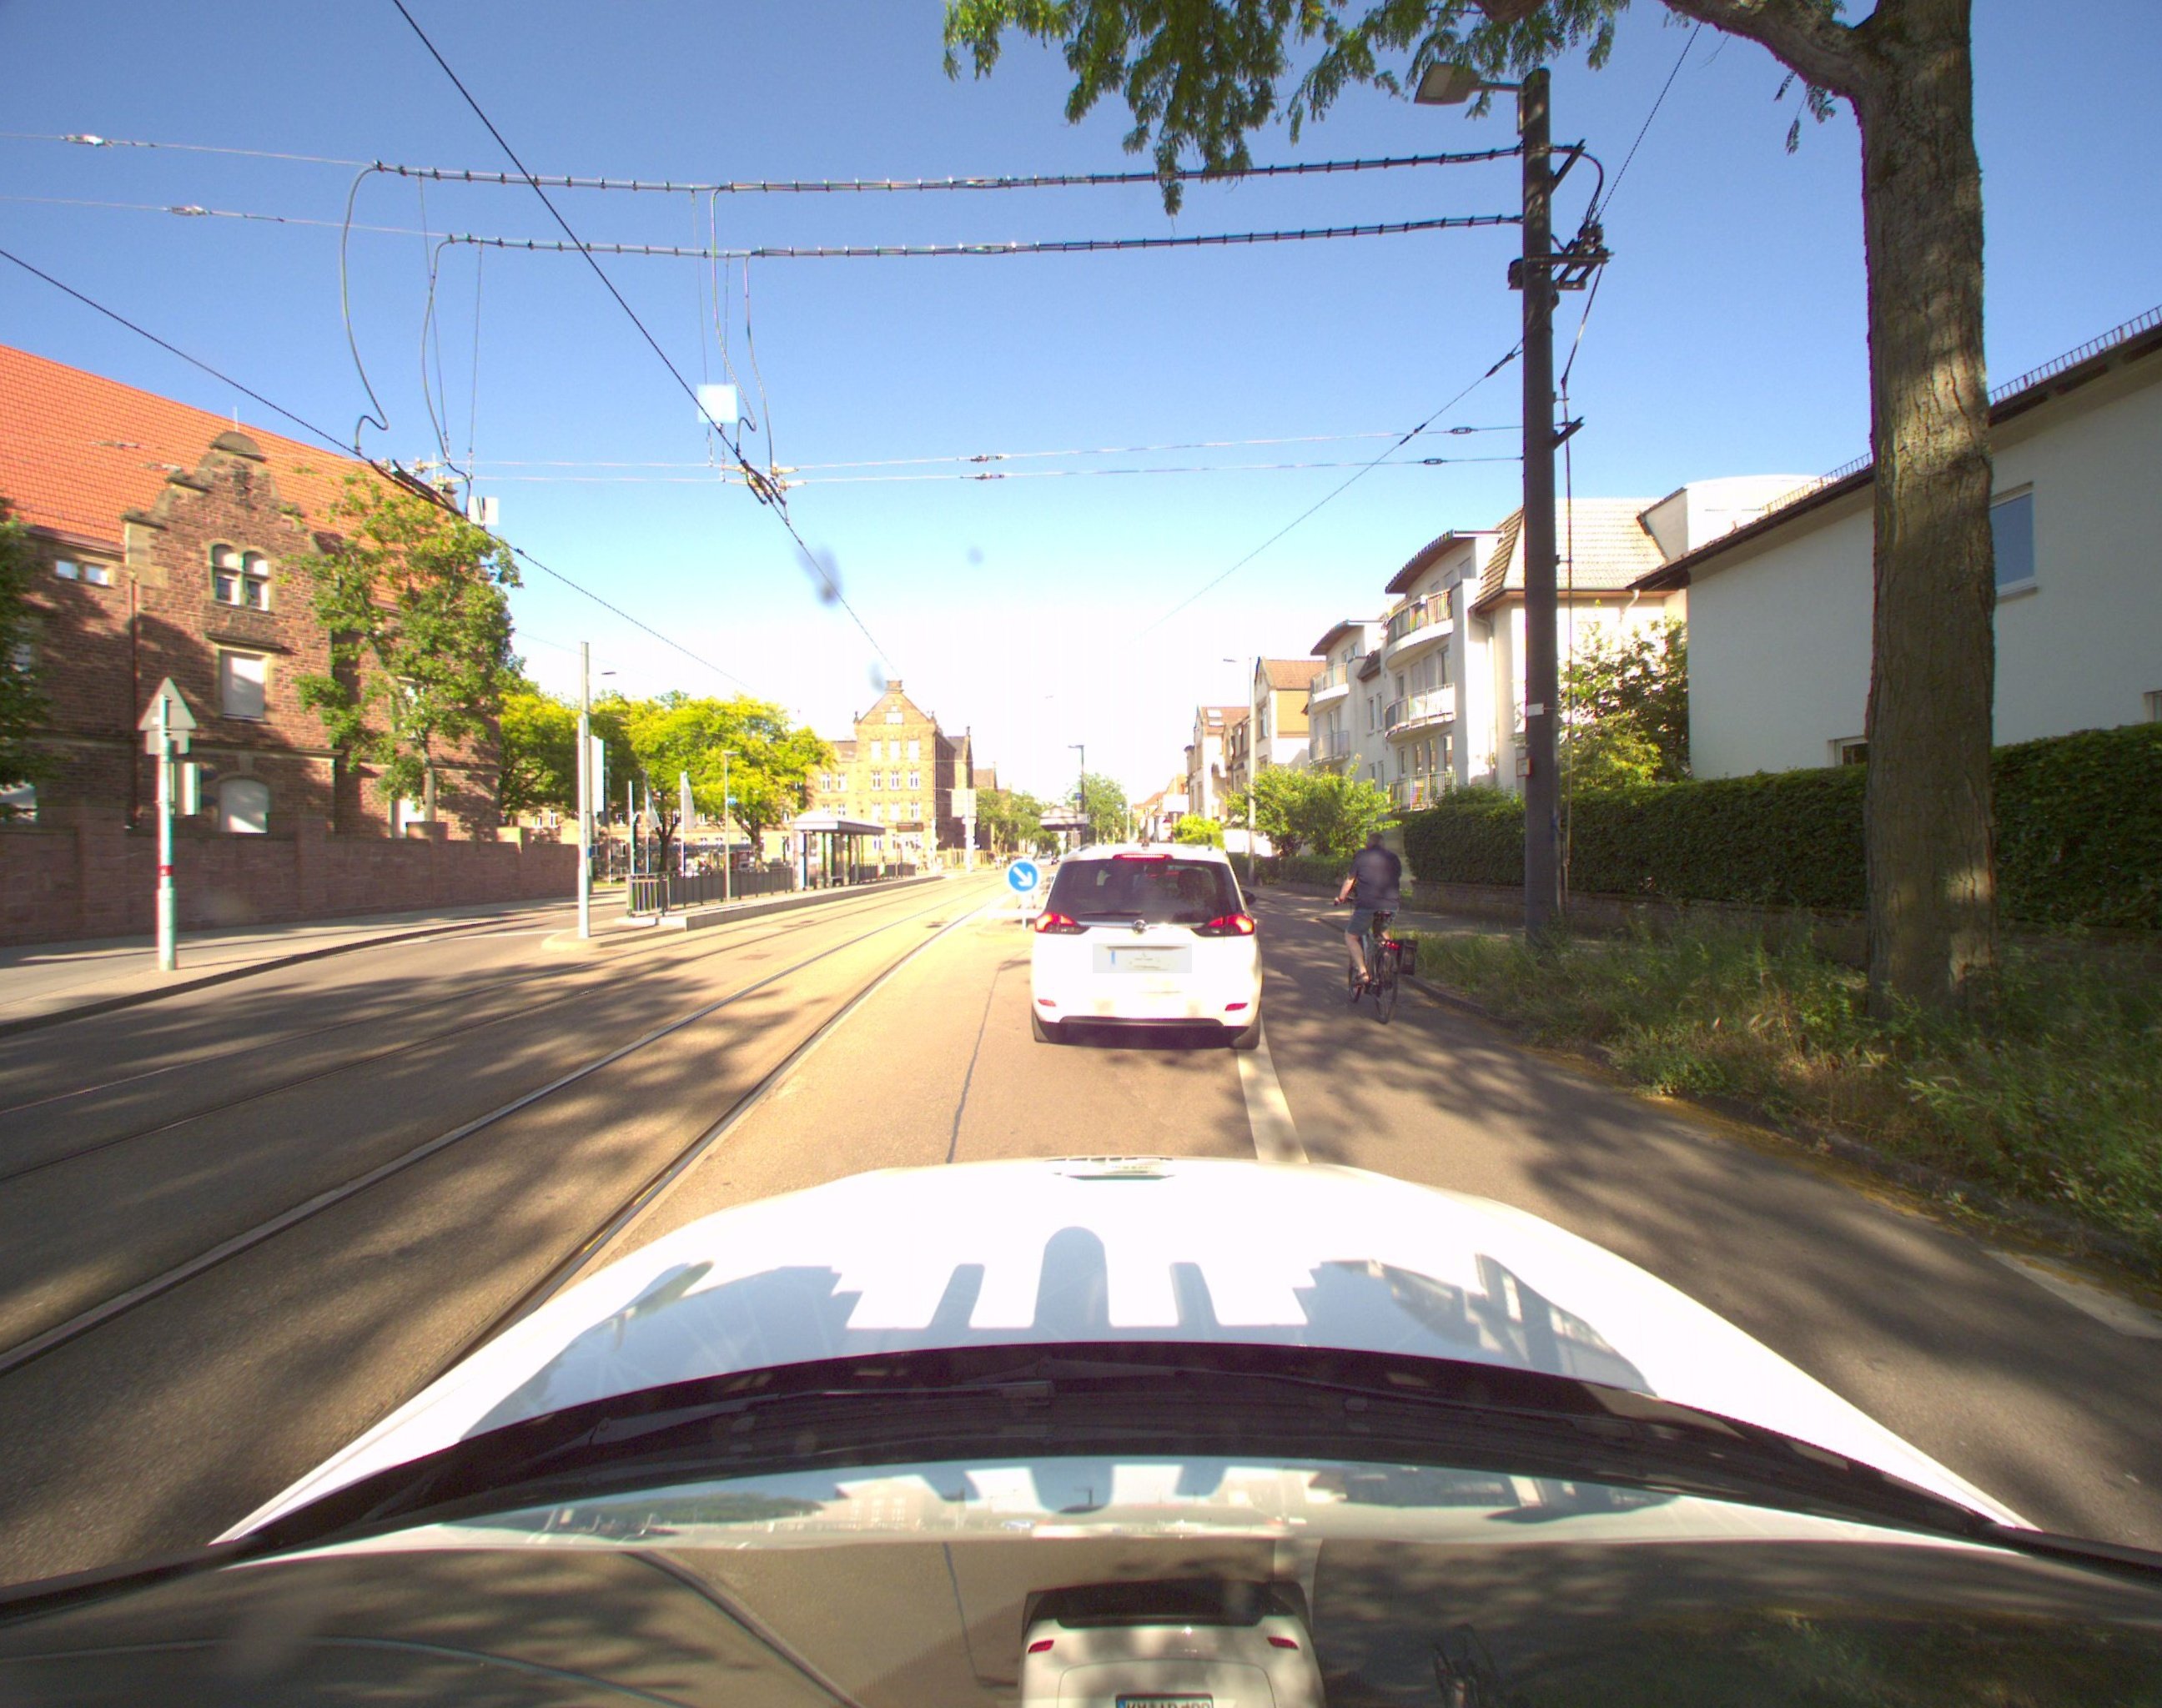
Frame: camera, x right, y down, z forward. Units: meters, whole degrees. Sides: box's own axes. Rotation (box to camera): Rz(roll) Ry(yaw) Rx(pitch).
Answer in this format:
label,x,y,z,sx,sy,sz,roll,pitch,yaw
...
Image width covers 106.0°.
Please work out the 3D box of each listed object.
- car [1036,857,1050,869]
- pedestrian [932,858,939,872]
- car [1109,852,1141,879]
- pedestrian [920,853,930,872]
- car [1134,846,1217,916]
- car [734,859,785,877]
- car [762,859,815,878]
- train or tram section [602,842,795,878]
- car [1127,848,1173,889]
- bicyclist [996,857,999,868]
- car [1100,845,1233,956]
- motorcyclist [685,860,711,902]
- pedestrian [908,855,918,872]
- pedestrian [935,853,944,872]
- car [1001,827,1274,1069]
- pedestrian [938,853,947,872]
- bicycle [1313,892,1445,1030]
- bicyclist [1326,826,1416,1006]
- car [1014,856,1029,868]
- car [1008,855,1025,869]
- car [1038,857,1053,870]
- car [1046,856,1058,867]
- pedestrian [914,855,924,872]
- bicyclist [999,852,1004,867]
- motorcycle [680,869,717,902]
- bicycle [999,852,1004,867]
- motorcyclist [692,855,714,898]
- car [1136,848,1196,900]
label,x,y,z,sx,sy,sz,roll,pitch,yaw
car,-5.363,1.290,115.544,1.740,1.716,4.001,0,-1,2
pedestrian,-17.082,1.255,95.906,0.651,1.612,0.712,0,-1,4
car,2.845,0.751,53.174,1.901,1.661,4.000,-1,0,0
pedestrian,-17.057,0.939,88.942,0.800,2.014,0.713,0,-1,-32
car,2.521,0.636,21.066,1.896,1.624,4.010,-1,0,9
car,-29.649,1.310,75.209,3.976,1.630,1.817,0,-1,-2
car,-25.441,1.235,70.966,3.976,1.630,1.817,0,-1,-2
train or tram section,-37.839,0.570,81.142,17.346,3.154,3.344,-1,-1,-3
car,2.998,0.615,36.181,1.899,1.661,4.003,-1,0,3
bicyclist,-10.658,1.058,103.492,0.312,1.444,0.384,-1,0,1
car,1.558,0.683,13.860,1.896,1.597,4.010,-1,0,9
motorcyclist,-13.491,0.932,28.681,0.683,1.440,0.445,-1,0,-8
pedestrian,-18.444,1.061,89.648,0.802,1.901,0.747,-1,-1,16
pedestrian,-15.549,0.934,89.529,0.801,2.014,0.713,0,-1,-35
car,0.692,0.660,7.720,1.896,1.661,4.010,-1,0,9
pedestrian,-14.542,0.866,85.493,0.796,2.014,0.717,0,-1,-15
bicycle,2.865,0.972,8.050,0.621,1.097,1.974,-1,0,2
bicyclist,2.856,0.583,8.080,0.613,1.686,0.779,-1,0,2
car,-8.323,1.118,114.112,1.740,1.716,4.001,0,-1,2
car,-8.492,1.032,107.445,1.740,1.716,4.001,0,-1,2
car,-4.701,1.258,107.665,1.740,1.716,4.001,0,-1,2
car,-4.595,1.186,129.390,1.740,1.716,4.001,0,-1,2
pedestrian,-18.316,1.052,92.063,0.801,1.901,0.747,-1,-1,20
bicyclist,-10.669,0.758,109.444,0.496,2.013,0.572,-1,0,1
motorcycle,-13.496,1.105,28.777,0.609,1.093,1.851,-1,0,-7
bicycle,-10.674,0.758,109.426,0.485,2.013,1.406,-1,0,2
motorcyclist,-13.552,0.816,29.203,0.606,1.516,0.464,-1,0,-9
car,2.977,0.650,28.338,1.897,1.661,4.007,-1,0,6
